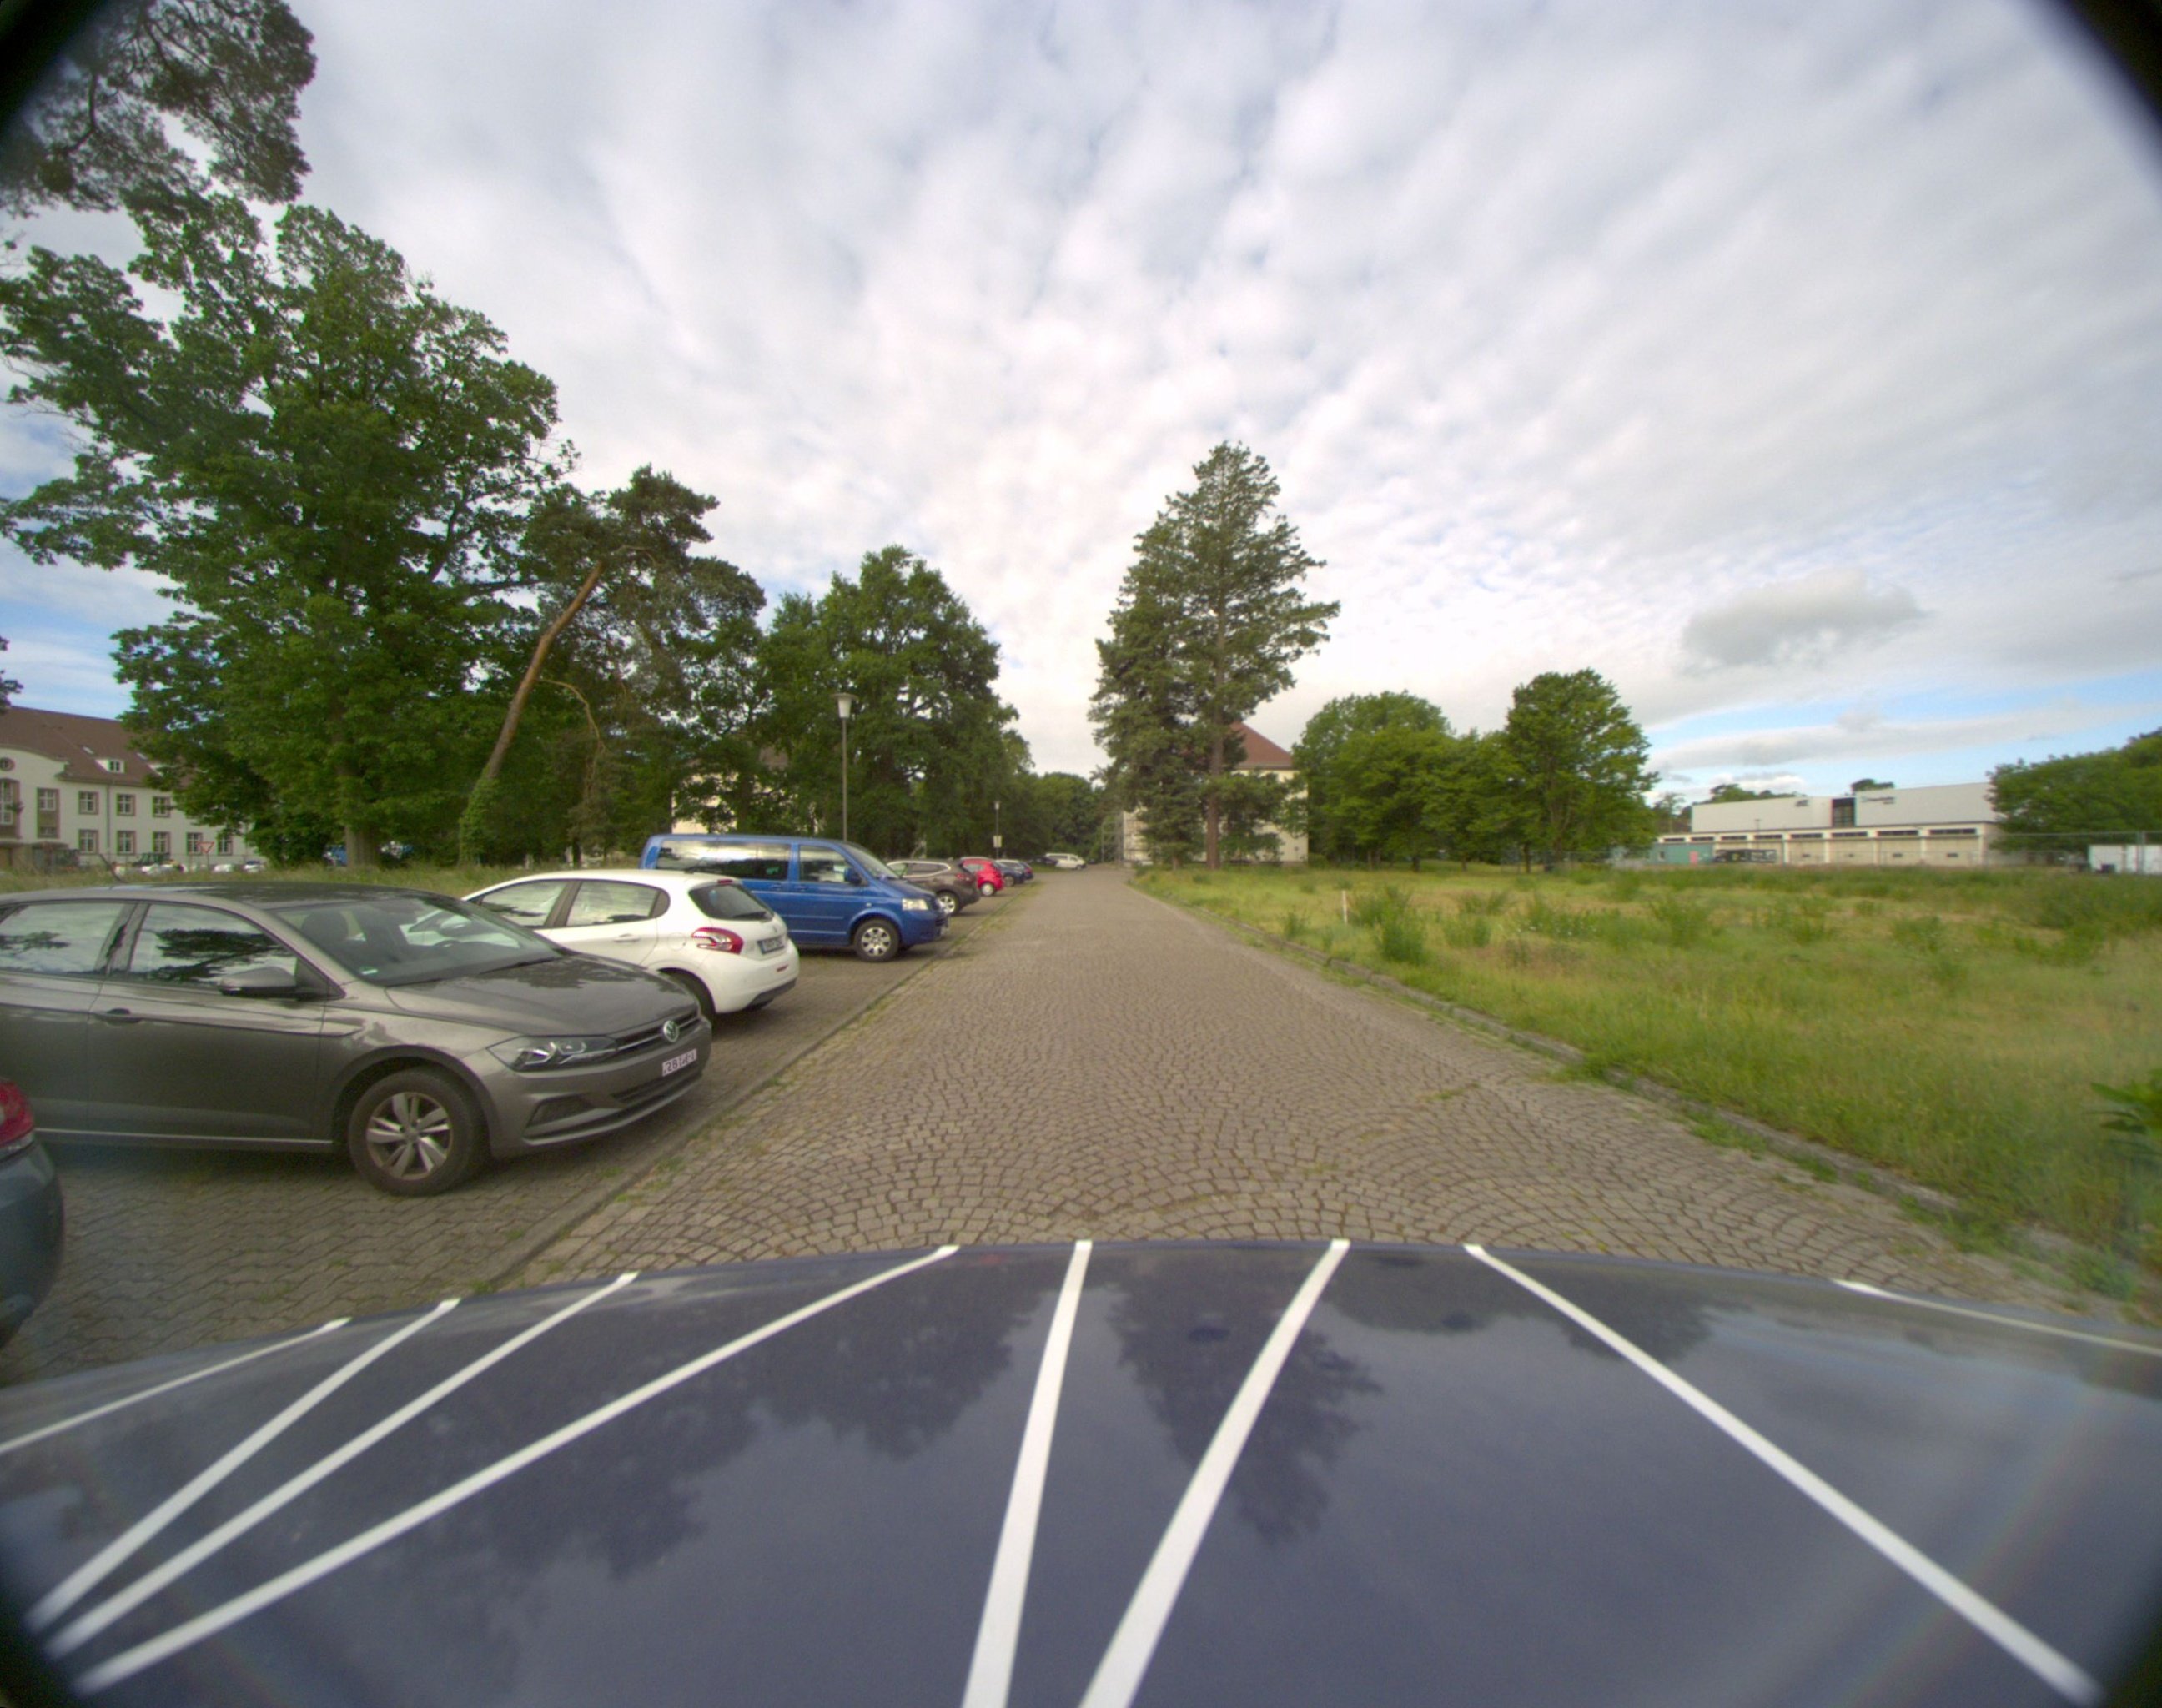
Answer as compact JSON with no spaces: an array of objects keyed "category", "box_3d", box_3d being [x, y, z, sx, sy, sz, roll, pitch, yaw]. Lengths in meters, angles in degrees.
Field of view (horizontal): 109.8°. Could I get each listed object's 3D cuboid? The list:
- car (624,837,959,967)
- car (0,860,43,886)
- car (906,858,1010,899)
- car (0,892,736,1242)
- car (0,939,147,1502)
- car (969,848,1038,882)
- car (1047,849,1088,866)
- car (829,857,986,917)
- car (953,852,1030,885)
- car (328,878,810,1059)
[{"category":"car","box_3d":[-4.562,0.727,12.553,4.749,1.928,2.000,1,0,-1]},{"category":"car","box_3d":[-58.865,1.023,40.261,1.886,1.408,4.256,0,0,-1]},{"category":"car","box_3d":[-5.081,0.994,31.823,3.997,1.521,2.000,-2,0,0]},{"category":"car","box_3d":[-4.300,0.986,4.309,3.848,1.448,1.820,0,0,2]},{"category":"car","box_3d":[-4.816,1.021,1.417,3.787,1.497,1.798,0,0,-2]},{"category":"car","box_3d":[-4.680,0.673,46.470,3.997,2.002,2.000,0,0,1]},{"category":"car","box_3d":[-1.663,0.419,95.361,5.031,2.164,2.000,0,0,1]},{"category":"car","box_3d":[-4.803,0.904,21.494,3.997,1.601,2.000,0,0,0]},{"category":"car","box_3d":[-4.902,0.782,42.072,4.007,1.752,2.000,0,0,1]},{"category":"car","box_3d":[-4.545,0.979,7.131,3.409,1.443,1.637,0,0,0]}]
